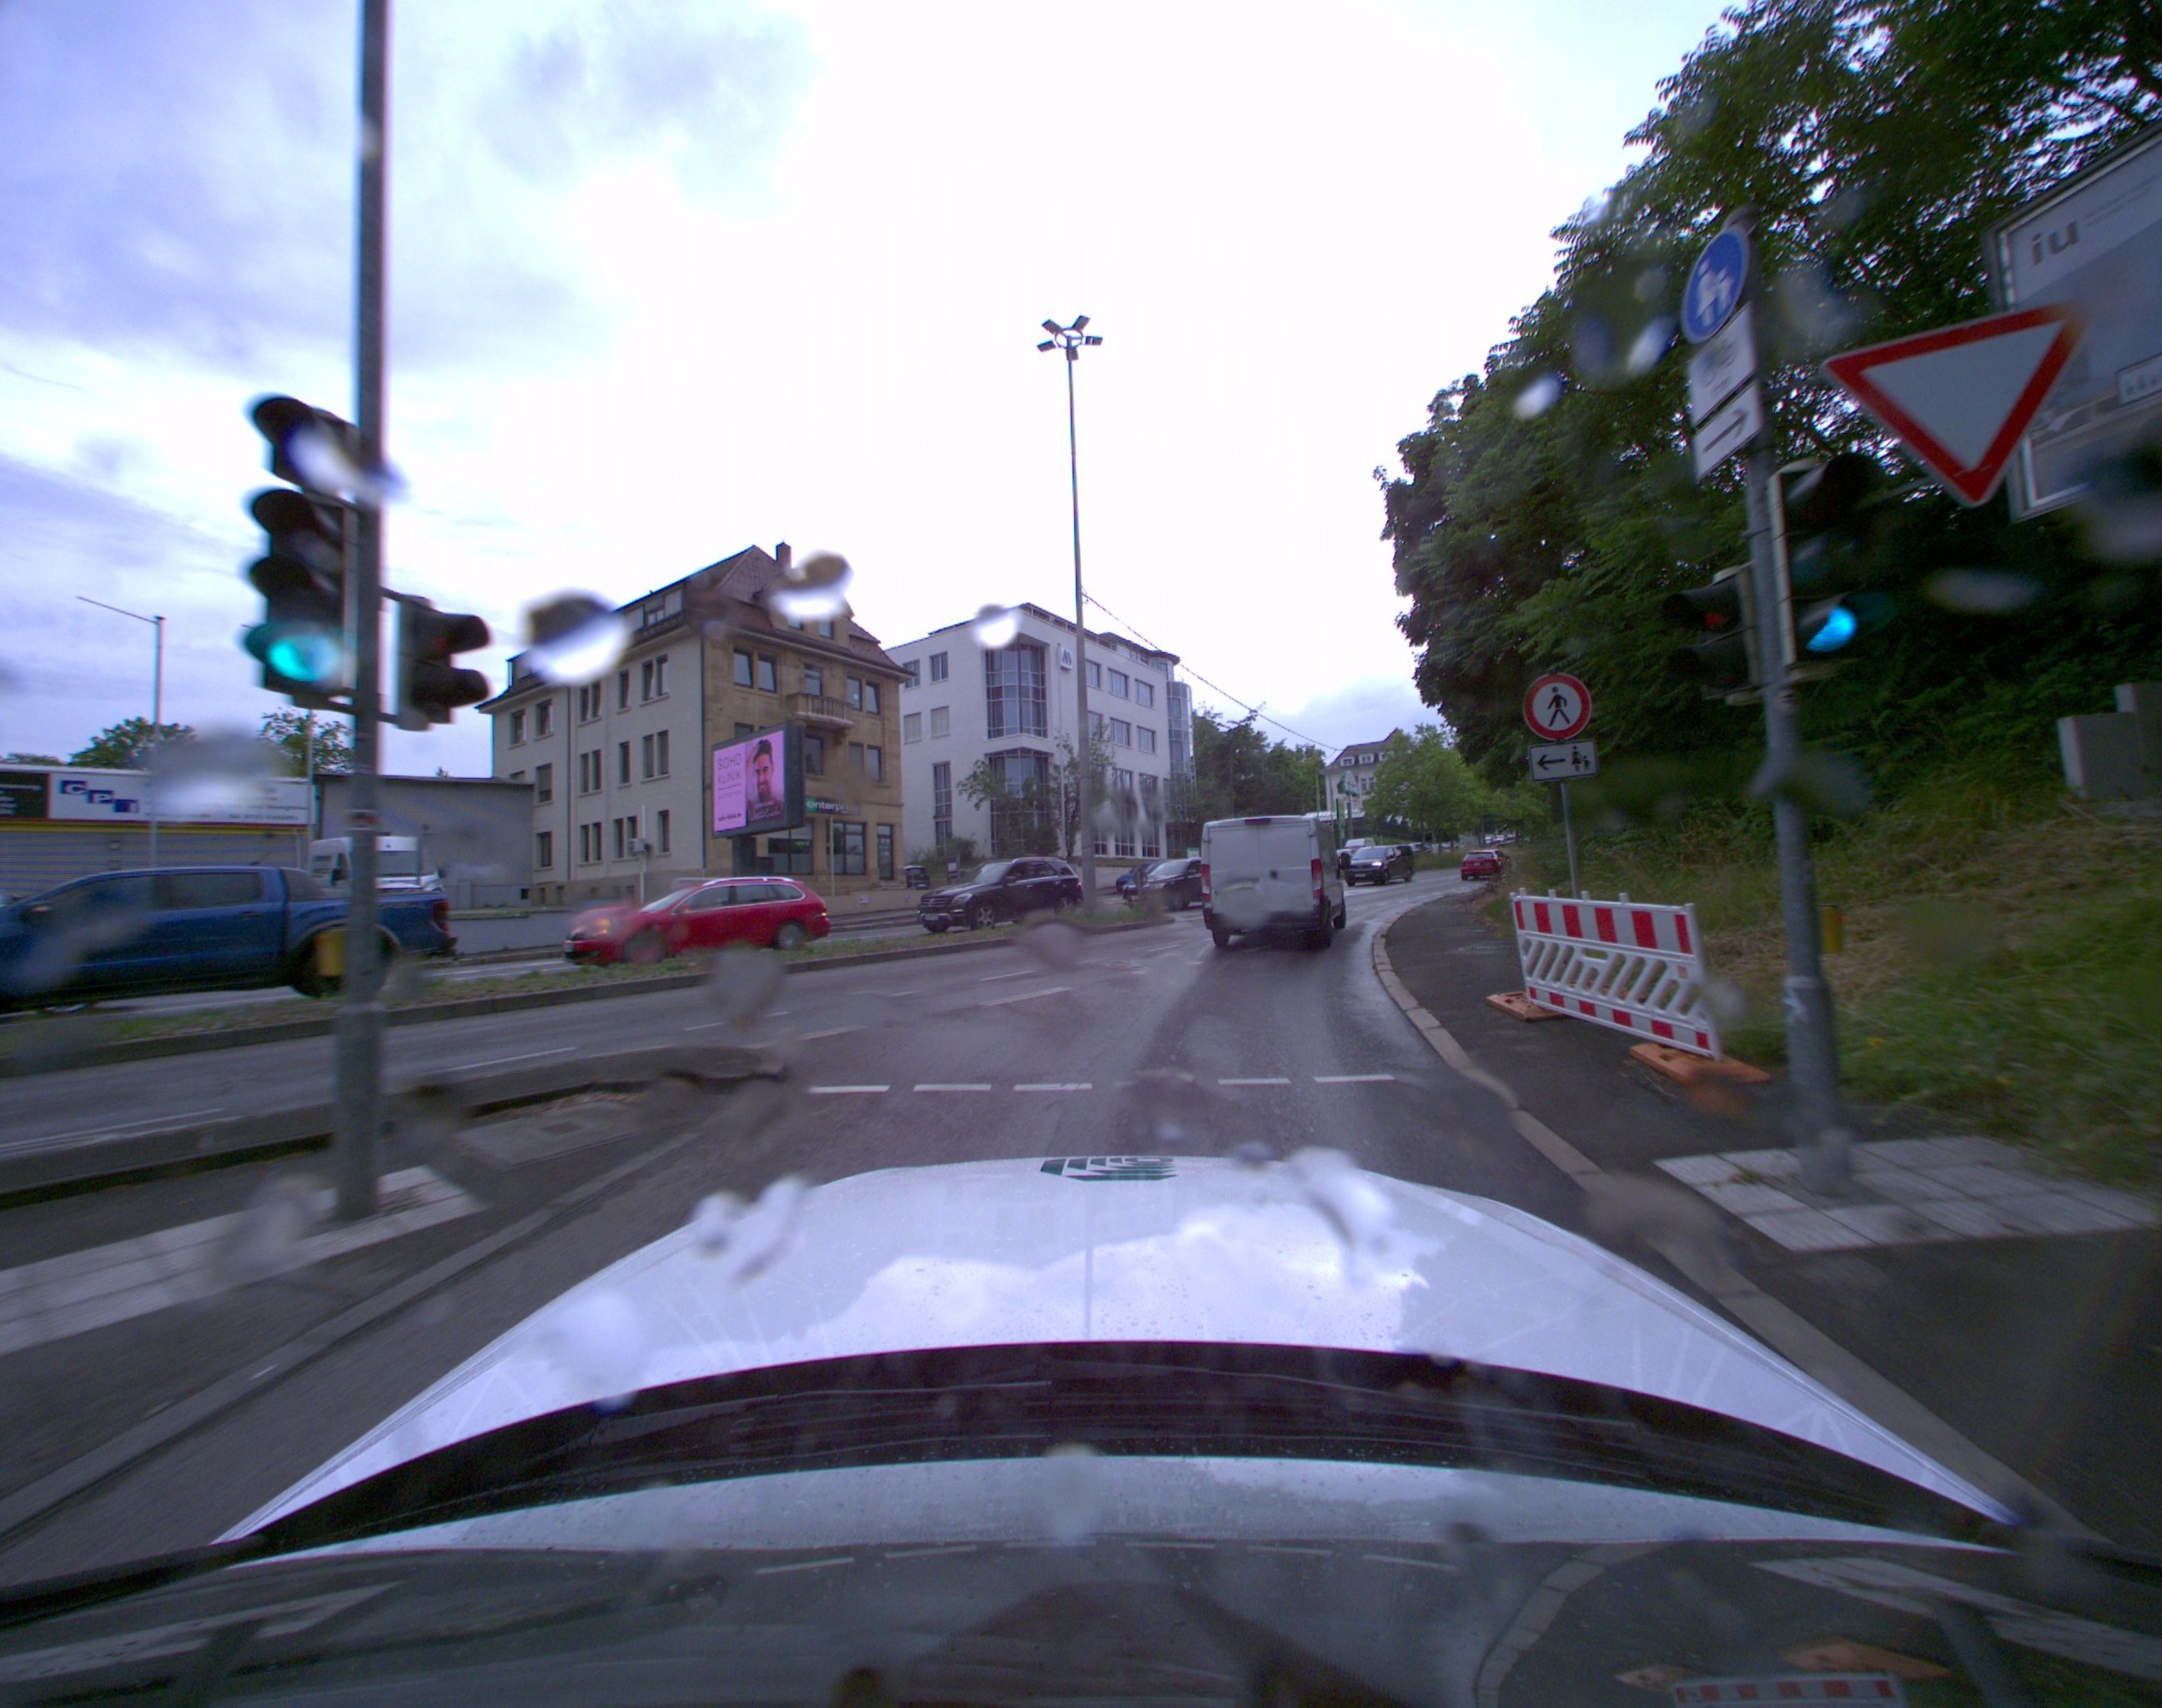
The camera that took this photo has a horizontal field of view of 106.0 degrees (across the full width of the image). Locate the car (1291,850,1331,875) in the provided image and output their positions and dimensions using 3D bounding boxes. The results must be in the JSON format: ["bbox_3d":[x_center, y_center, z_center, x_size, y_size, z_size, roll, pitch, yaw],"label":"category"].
[{"bbox_3d":[17.701,0.648,62.483,1.576,1.695,3.805,-5,-1,36],"label":"car"}]

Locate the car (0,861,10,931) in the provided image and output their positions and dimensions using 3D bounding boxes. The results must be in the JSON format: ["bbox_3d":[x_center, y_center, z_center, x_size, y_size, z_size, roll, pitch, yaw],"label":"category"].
[{"bbox_3d":[-23.316,0.866,16.878,2.652,1.424,1.235,-1,-2,39],"label":"car"}]

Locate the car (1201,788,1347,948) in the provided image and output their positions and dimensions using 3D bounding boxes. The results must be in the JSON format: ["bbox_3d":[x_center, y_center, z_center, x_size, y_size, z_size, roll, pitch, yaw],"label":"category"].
[{"bbox_3d":[3.857,0.190,15.526,2.032,2.516,4.969,0,1,21],"label":"car"}]

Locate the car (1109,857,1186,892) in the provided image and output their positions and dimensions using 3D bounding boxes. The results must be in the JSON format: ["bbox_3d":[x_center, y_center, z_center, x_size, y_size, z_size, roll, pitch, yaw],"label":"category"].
[{"bbox_3d":[3.571,1.045,42.912,1.671,1.534,4.702,-5,-1,36],"label":"car"}]

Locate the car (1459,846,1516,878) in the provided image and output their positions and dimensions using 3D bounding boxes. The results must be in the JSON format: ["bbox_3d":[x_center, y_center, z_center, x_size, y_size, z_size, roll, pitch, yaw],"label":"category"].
[{"bbox_3d":[19.450,0.422,38.939,1.677,1.426,3.388,-3,-3,39],"label":"car"}]

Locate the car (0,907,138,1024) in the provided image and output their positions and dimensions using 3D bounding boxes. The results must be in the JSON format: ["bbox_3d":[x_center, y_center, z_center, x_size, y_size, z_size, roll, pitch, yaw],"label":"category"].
[{"bbox_3d":[-15.005,1.474,10.200,1.527,1.459,4.096,-5,-4,39],"label":"car"}]

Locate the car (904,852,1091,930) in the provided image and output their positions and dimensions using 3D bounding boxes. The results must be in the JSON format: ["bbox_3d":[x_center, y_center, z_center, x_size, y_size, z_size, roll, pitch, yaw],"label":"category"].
[{"bbox_3d":[-2.010,0.882,20.841,1.936,1.697,4.654,-5,-3,40],"label":"car"}]

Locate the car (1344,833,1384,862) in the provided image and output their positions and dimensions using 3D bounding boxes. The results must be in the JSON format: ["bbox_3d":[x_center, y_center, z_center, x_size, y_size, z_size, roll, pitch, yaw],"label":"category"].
[{"bbox_3d":[26.385,-0.615,75.851,1.943,2.443,5.692,-5,-1,34],"label":"car"}]

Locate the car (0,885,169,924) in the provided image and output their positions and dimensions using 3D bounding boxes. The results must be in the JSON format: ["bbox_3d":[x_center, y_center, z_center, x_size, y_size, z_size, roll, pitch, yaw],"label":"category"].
[{"bbox_3d":[-32.453,1.632,26.536,3.429,1.108,1.308,0,-4,-37],"label":"car"}]

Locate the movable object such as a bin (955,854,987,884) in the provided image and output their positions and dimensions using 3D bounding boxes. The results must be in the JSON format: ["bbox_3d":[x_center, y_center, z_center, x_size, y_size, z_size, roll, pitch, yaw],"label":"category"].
[{"bbox_3d":[-5.768,0.788,42.659,1.232,1.541,1.047,-4,-3,33],"label":"movable object such as a bin"}]

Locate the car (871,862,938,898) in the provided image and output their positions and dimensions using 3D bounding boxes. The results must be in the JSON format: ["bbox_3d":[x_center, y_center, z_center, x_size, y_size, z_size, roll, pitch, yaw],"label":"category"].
[{"bbox_3d":[-9.066,1.357,41.876,3.012,1.676,1.726,-5,-4,34],"label":"car"}]

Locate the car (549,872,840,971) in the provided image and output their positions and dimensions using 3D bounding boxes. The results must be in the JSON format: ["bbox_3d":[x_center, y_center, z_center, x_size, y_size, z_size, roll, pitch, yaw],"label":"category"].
[{"bbox_3d":[-6.883,1.154,14.924,1.788,1.531,4.469,-5,-4,39],"label":"car"}]

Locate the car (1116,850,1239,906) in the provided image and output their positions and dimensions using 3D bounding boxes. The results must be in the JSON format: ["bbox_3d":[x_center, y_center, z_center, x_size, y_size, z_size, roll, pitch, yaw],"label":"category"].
[{"bbox_3d":[3.267,0.798,26.715,1.672,1.605,4.758,-5,-4,39],"label":"car"}]

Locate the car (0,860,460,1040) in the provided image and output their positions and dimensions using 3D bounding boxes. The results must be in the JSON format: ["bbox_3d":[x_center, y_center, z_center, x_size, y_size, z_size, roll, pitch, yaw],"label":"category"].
[{"bbox_3d":[-11.172,1.074,10.086,1.915,1.819,5.202,-5,-3,40],"label":"car"}]

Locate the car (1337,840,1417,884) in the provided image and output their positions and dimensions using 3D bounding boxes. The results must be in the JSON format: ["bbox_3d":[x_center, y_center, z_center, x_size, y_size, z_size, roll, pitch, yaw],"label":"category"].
[{"bbox_3d":[14.454,0.356,39.642,1.995,1.867,5.073,-5,-2,39],"label":"car"}]

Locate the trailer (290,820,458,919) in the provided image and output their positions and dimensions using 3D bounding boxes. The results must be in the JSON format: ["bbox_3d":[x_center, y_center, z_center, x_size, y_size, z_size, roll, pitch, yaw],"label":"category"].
[{"bbox_3d":[-20.966,0.597,24.023,7.027,2.429,2.410,-5,-4,38],"label":"trailer"}]
